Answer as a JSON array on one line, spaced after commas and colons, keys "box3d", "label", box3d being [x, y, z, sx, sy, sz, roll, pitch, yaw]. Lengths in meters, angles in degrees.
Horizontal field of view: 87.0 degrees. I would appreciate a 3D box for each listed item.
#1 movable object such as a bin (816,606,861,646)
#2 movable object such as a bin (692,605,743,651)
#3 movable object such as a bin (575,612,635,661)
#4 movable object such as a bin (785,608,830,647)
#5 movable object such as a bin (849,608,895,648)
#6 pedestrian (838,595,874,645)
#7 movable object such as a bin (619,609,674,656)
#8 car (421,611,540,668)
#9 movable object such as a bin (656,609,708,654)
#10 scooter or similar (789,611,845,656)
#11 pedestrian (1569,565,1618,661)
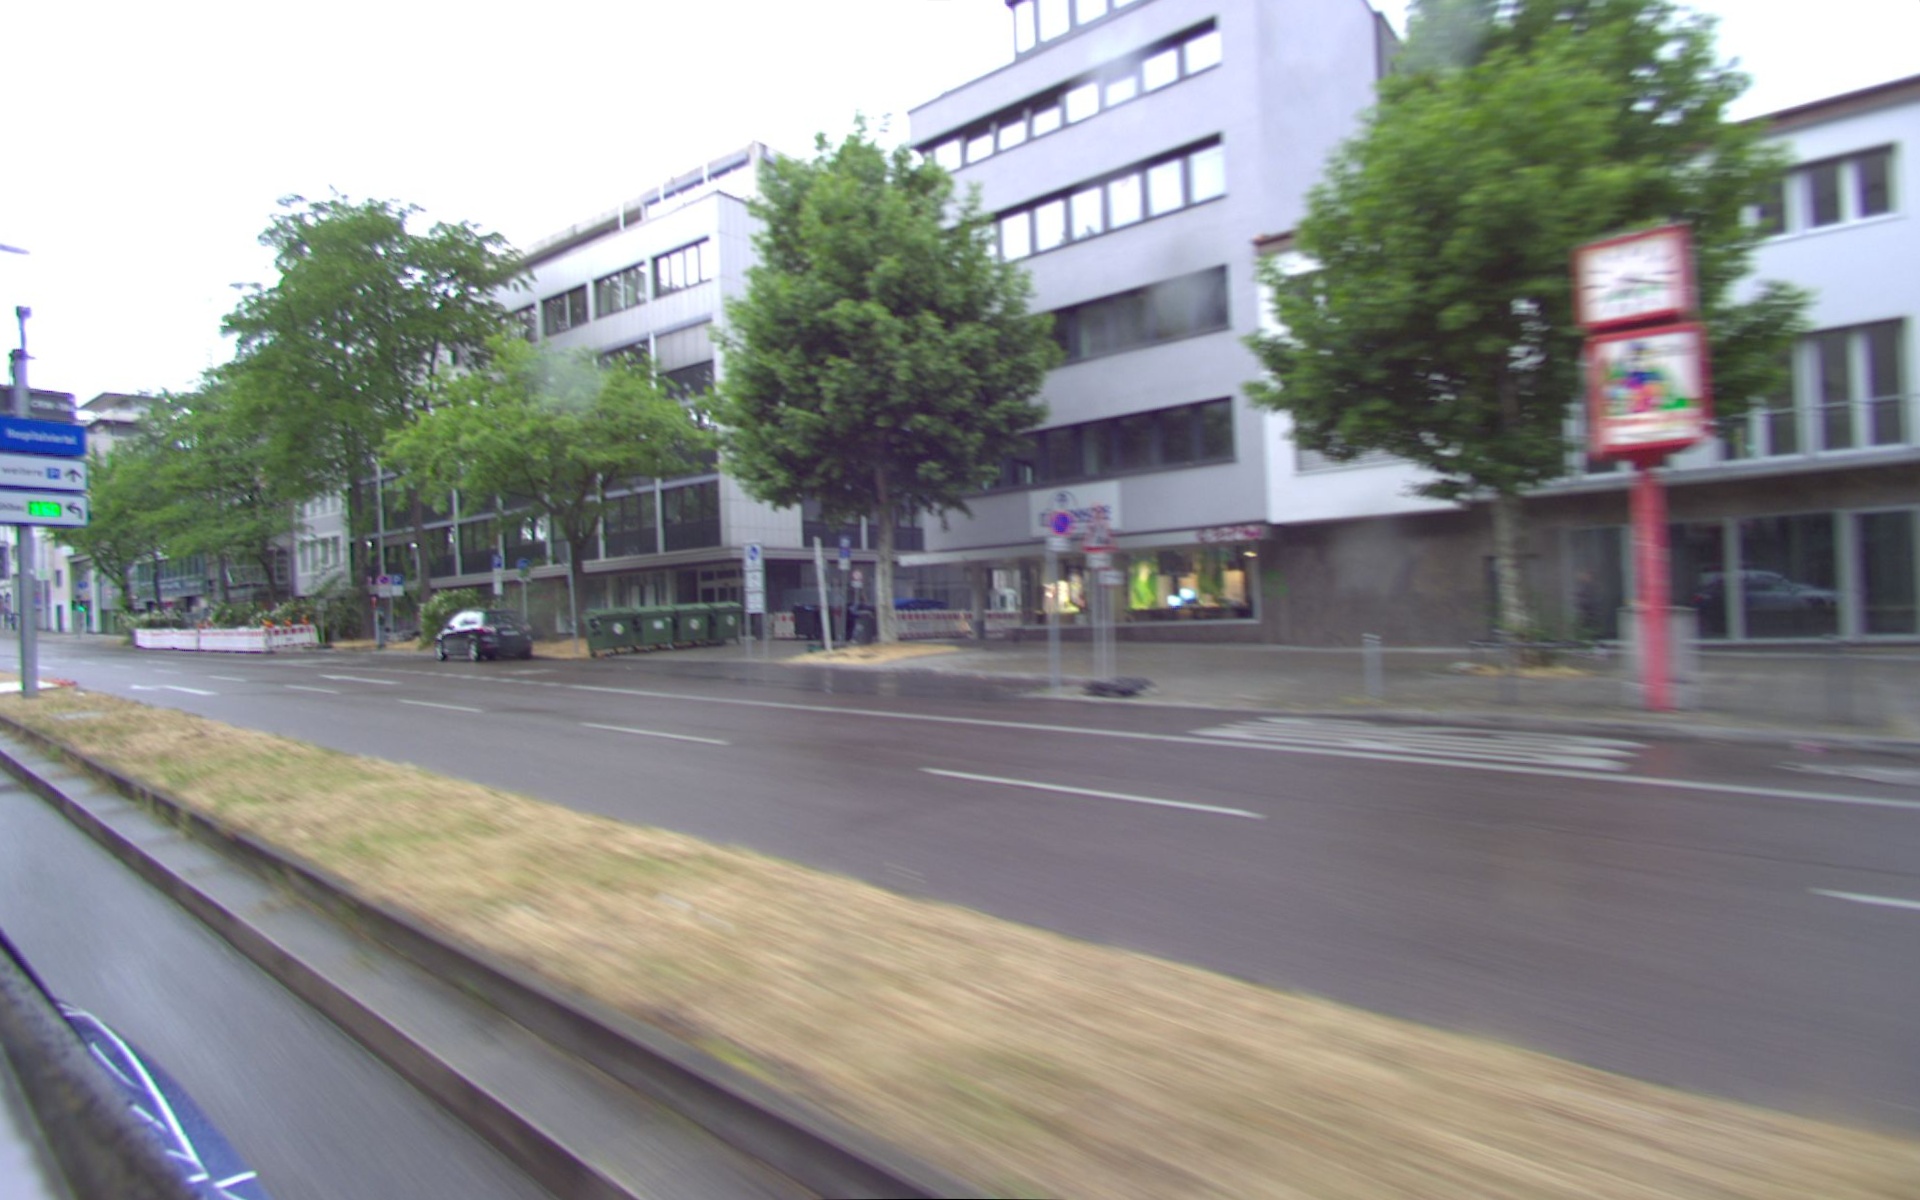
[{"box3d": [-4.507, 0.958, 37.575, 1.278, 1.446, 1.077, -1, -1, 32], "label": "movable object such as a bin"}, {"box3d": [-8.164, 0.944, 34.035, 1.088, 1.499, 1.265, -2, -1, 41], "label": "movable object such as a bin"}, {"box3d": [-10.811, 1.091, 30.851, 1.088, 1.437, 1.345, -2, -1, 41], "label": "movable object such as a bin"}, {"box3d": [-5.792, 1.042, 38.433, 1.278, 1.446, 1.077, -1, -1, 32], "label": "movable object such as a bin"}, {"box3d": [-3.205, 1.019, 36.979, 1.278, 1.446, 1.077, -1, -1, 32], "label": "movable object such as a bin"}, {"box3d": [-3.639, 0.696, 35.311, 0.895, 1.701, 0.861, -2, -1, 37], "label": "pedestrian"}, {"box3d": [-9.898, 1.021, 31.941, 1.088, 1.437, 1.265, -2, -1, 41], "label": "movable object such as a bin"}, {"box3d": [-14.931, 1.201, 31.418, 4.019, 1.648, 1.761, -2, -1, 39], "label": "car"}, {"box3d": [-9.057, 1.017, 32.982, 1.088, 1.437, 1.265, -2, -1, 41], "label": "movable object such as a bin"}, {"box3d": [-3.923, 0.923, 27.675, 1.323, 1.130, 0.767, -5, -1, 42], "label": "scooter or similar"}, {"box3d": [12.047, 0.244, 19.245, 0.653, 1.776, 0.688, -2, -1, 43], "label": "pedestrian"}]
